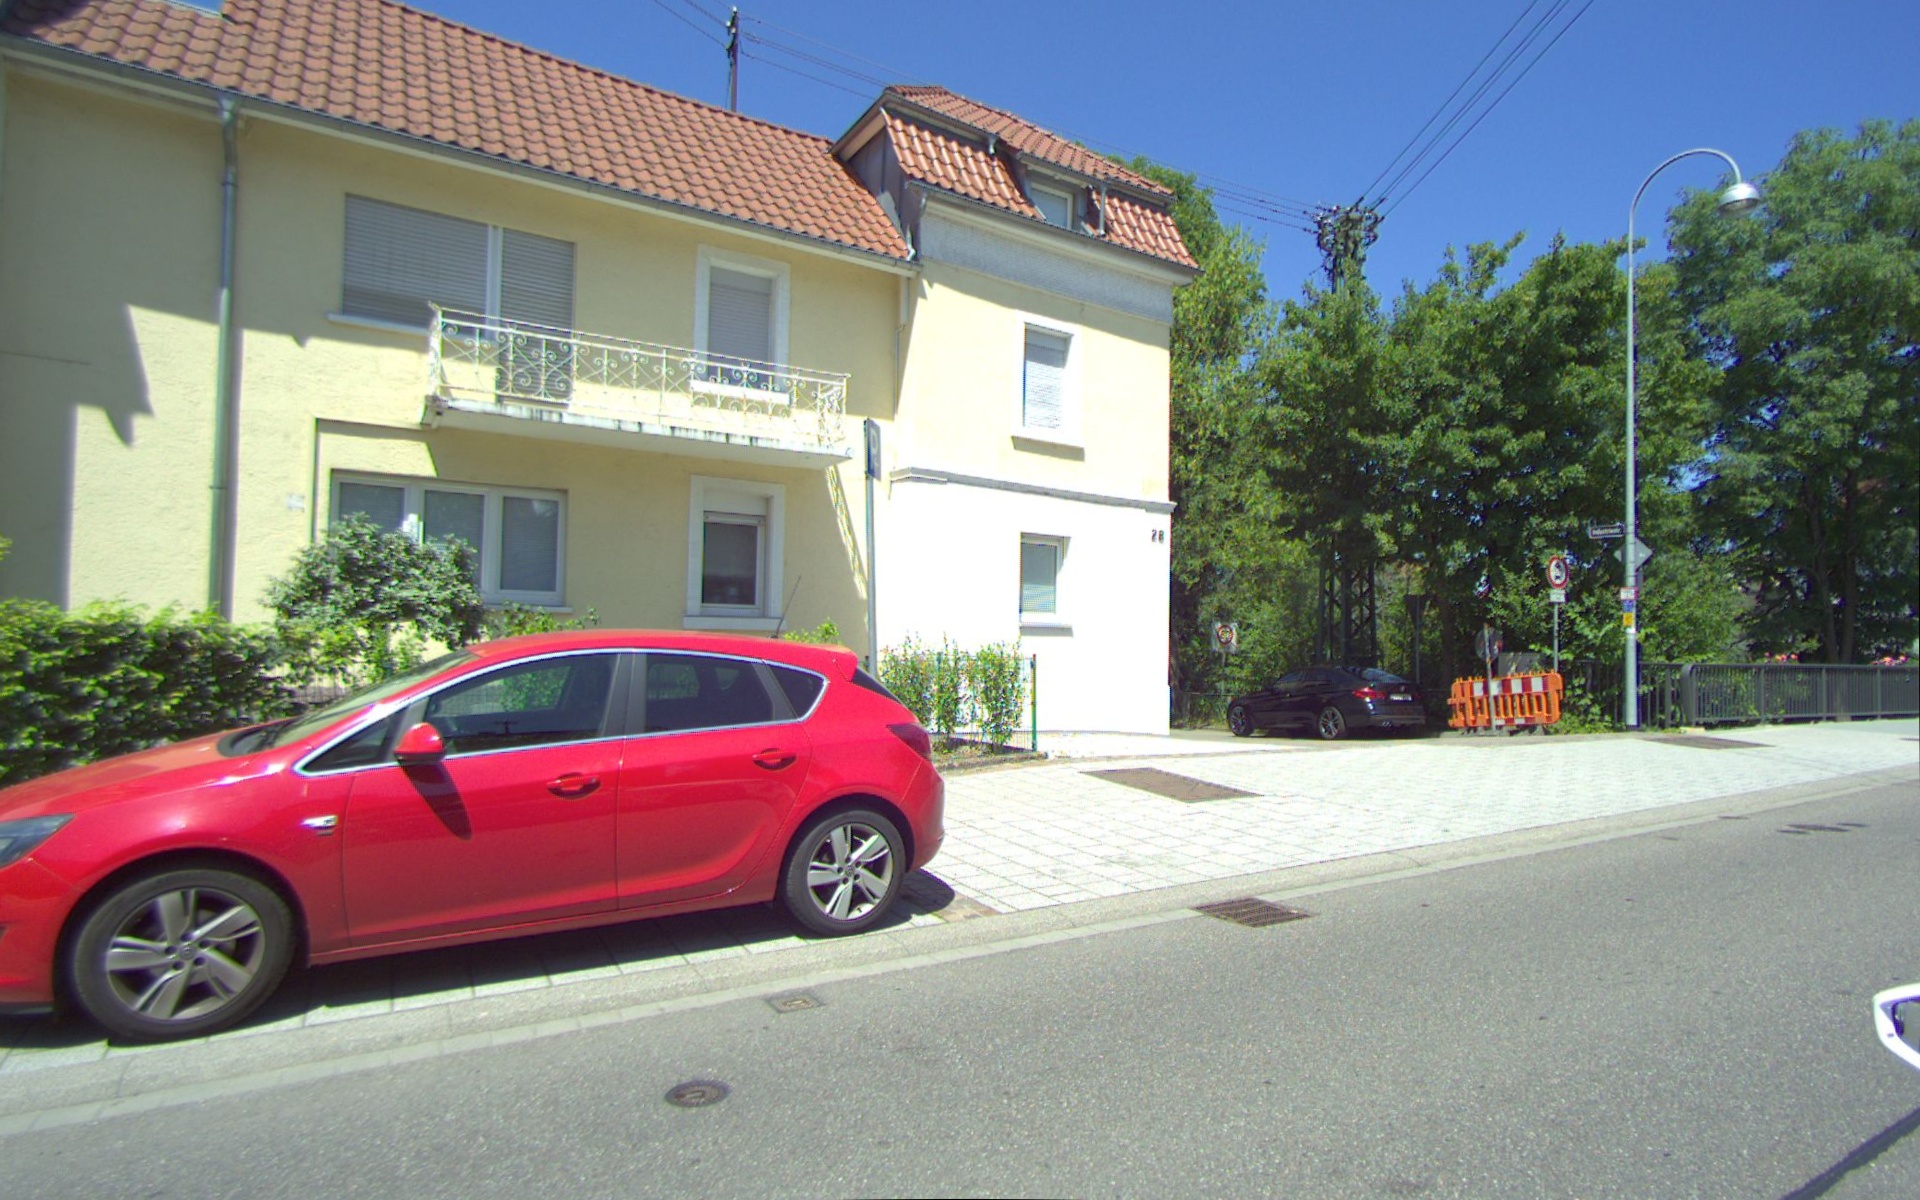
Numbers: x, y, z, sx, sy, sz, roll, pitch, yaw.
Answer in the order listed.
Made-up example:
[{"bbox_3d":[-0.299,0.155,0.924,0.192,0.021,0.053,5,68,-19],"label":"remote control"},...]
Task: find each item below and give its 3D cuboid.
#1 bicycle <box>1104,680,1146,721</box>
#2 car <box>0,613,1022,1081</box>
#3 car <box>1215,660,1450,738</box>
[{"bbox_3d":[5.181,3.150,31.678,0.550,1.257,1.885,1,-5,-15],"label":"bicycle"},{"bbox_3d":[-2.164,0.885,5.004,4.682,1.499,1.868,2,0,-30],"label":"car"},{"bbox_3d":[7.603,2.114,21.030,1.973,1.436,4.518,1,-7,-25],"label":"car"}]
